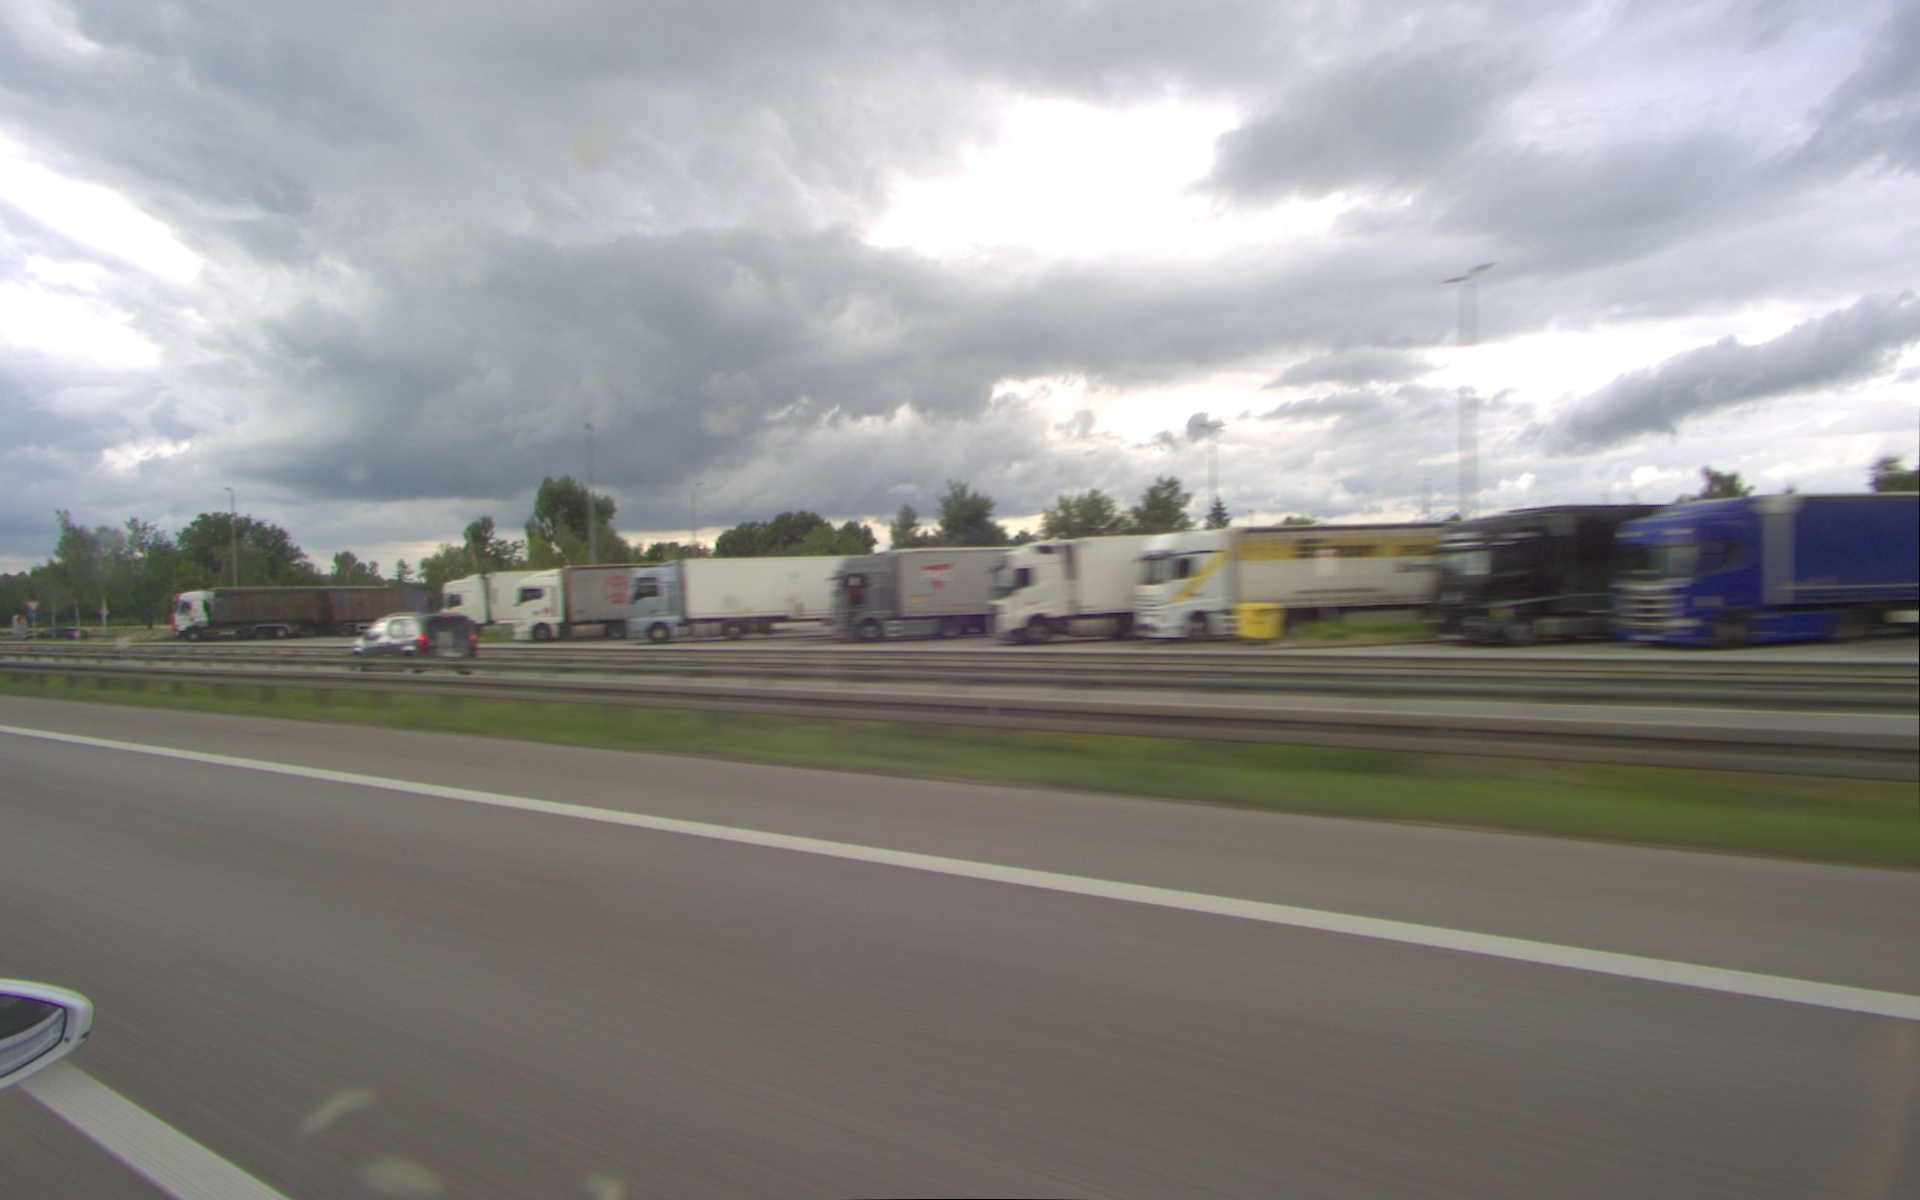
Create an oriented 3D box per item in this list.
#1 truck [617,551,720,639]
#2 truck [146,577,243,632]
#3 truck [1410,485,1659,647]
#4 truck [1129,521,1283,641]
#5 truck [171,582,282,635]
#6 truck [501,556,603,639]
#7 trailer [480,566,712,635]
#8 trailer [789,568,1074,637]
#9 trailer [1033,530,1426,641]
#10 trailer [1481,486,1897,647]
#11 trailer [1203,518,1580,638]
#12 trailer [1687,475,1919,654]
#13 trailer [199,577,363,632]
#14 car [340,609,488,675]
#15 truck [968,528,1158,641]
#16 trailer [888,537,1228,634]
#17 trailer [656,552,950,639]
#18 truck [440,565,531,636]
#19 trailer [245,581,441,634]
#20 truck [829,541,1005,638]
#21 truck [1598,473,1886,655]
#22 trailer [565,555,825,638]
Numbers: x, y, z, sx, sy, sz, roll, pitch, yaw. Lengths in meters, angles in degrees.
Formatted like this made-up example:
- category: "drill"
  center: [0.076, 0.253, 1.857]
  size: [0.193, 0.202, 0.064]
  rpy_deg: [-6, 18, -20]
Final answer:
- category: "truck"
  center: [-14.292, -0.174, 49.384]
  size: [4.708, 4.184, 2.638]
  rpy_deg: [0, -1, -14]
- category: "truck"
  center: [-61.199, 0.417, 80.184]
  size: [5.588, 4.308, 2.591]
  rpy_deg: [0, -1, -12]
- category: "truck"
  center: [17.439, -0.899, 30.616]
  size: [5.973, 4.615, 3.167]
  rpy_deg: [0, -1, -11]
- category: "truck"
  center: [8.754, -0.595, 35.957]
  size: [4.707, 4.107, 2.696]
  rpy_deg: [0, -1, -9]
- category: "truck"
  center: [-56.515, 0.659, 77.315]
  size: [6.274, 3.901, 2.754]
  rpy_deg: [-1, 0, -12]
- category: "truck"
  center: [-22.205, -0.058, 54.722]
  size: [4.815, 4.383, 2.510]
  rpy_deg: [0, -1, -13]
- category: "trailer"
  center: [-22.382, 0.106, 62.385]
  size: [13.288, 4.126, 2.613]
  rpy_deg: [0, -1, -10]
- category: "trailer"
  center: [-1.459, 0.221, 48.856]
  size: [13.492, 3.150, 3.594]
  rpy_deg: [0, -2, -11]
- category: "trailer"
  center: [10.860, -0.470, 40.345]
  size: [15.593, 4.157, 2.854]
  rpy_deg: [0, -1, -11]
- category: "trailer"
  center: [22.993, -0.887, 31.707]
  size: [12.179, 4.650, 3.163]
  rpy_deg: [0, -1, -11]
- category: "trailer"
  center: [15.971, -0.690, 37.146]
  size: [13.540, 4.146, 2.651]
  rpy_deg: [0, -1, -9]
- category: "trailer"
  center: [27.986, -0.835, 28.884]
  size: [13.403, 4.638, 3.062]
  rpy_deg: [0, -1, -12]
- category: "trailer"
  center: [-55.032, 0.364, 81.437]
  size: [10.902, 4.279, 2.597]
  rpy_deg: [0, -1, -11]
- category: "car"
  center: [-15.903, 1.175, 29.108]
  size: [4.529, 1.780, 1.824]
  rpy_deg: [-1, 0, 32]
- category: "truck"
  center: [3.947, -0.517, 39.055]
  size: [6.841, 4.187, 2.884]
  rpy_deg: [0, -1, -10]
- category: "trailer"
  center: [4.482, -0.524, 46.245]
  size: [15.288, 4.187, 3.528]
  rpy_deg: [0, -2, -11]
- category: "trailer"
  center: [-7.854, -0.120, 50.941]
  size: [14.428, 4.137, 2.656]
  rpy_deg: [0, -1, -13]
- category: "truck"
  center: [-28.958, 0.074, 61.312]
  size: [4.447, 4.187, 2.614]
  rpy_deg: [0, -1, -9]
- category: "trailer"
  center: [-48.353, 0.576, 78.906]
  size: [12.961, 3.892, 2.745]
  rpy_deg: [-1, 0, -11]
- category: "truck"
  center: [-2.010, -0.355, 44.968]
  size: [7.511, 4.137, 3.547]
  rpy_deg: [0, -1, -10]
- category: "truck"
  center: [21.361, -0.842, 27.538]
  size: [5.973, 4.615, 3.059]
  rpy_deg: [0, -1, -12]
- category: "trailer"
  center: [-14.652, -0.113, 56.361]
  size: [13.881, 4.452, 2.477]
  rpy_deg: [0, -1, -12]
